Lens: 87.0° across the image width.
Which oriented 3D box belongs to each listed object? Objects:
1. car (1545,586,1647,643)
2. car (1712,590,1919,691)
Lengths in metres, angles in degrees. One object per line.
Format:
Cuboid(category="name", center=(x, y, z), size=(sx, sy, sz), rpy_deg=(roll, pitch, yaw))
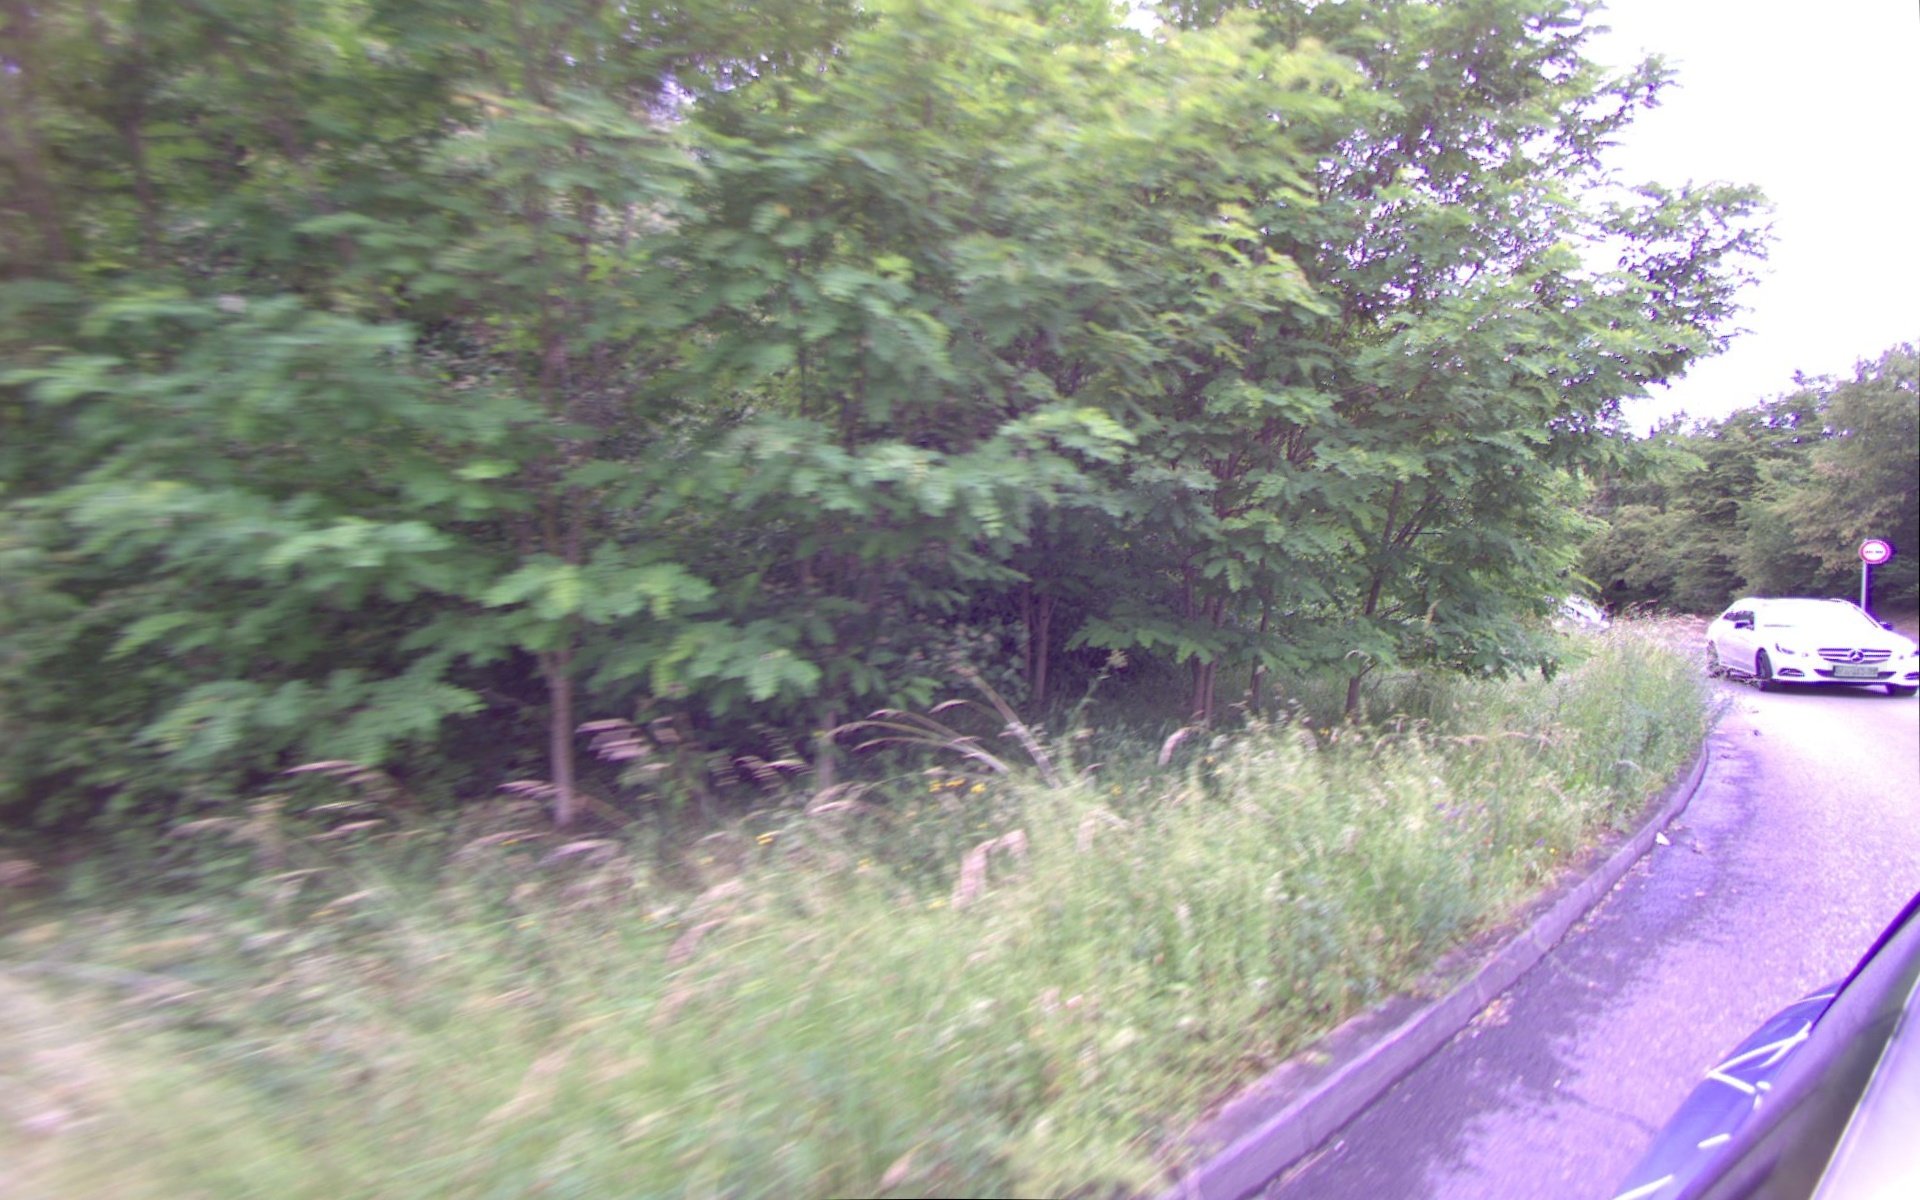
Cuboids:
Cuboid(category="car", center=(19.501, 0.432, 31.208), size=(1.801, 1.564, 3.702), rpy_deg=(2, 0, 19))
Cuboid(category="car", center=(13.870, 0.574, 16.388), size=(1.868, 1.440, 3.966), rpy_deg=(-1, 0, 24))
